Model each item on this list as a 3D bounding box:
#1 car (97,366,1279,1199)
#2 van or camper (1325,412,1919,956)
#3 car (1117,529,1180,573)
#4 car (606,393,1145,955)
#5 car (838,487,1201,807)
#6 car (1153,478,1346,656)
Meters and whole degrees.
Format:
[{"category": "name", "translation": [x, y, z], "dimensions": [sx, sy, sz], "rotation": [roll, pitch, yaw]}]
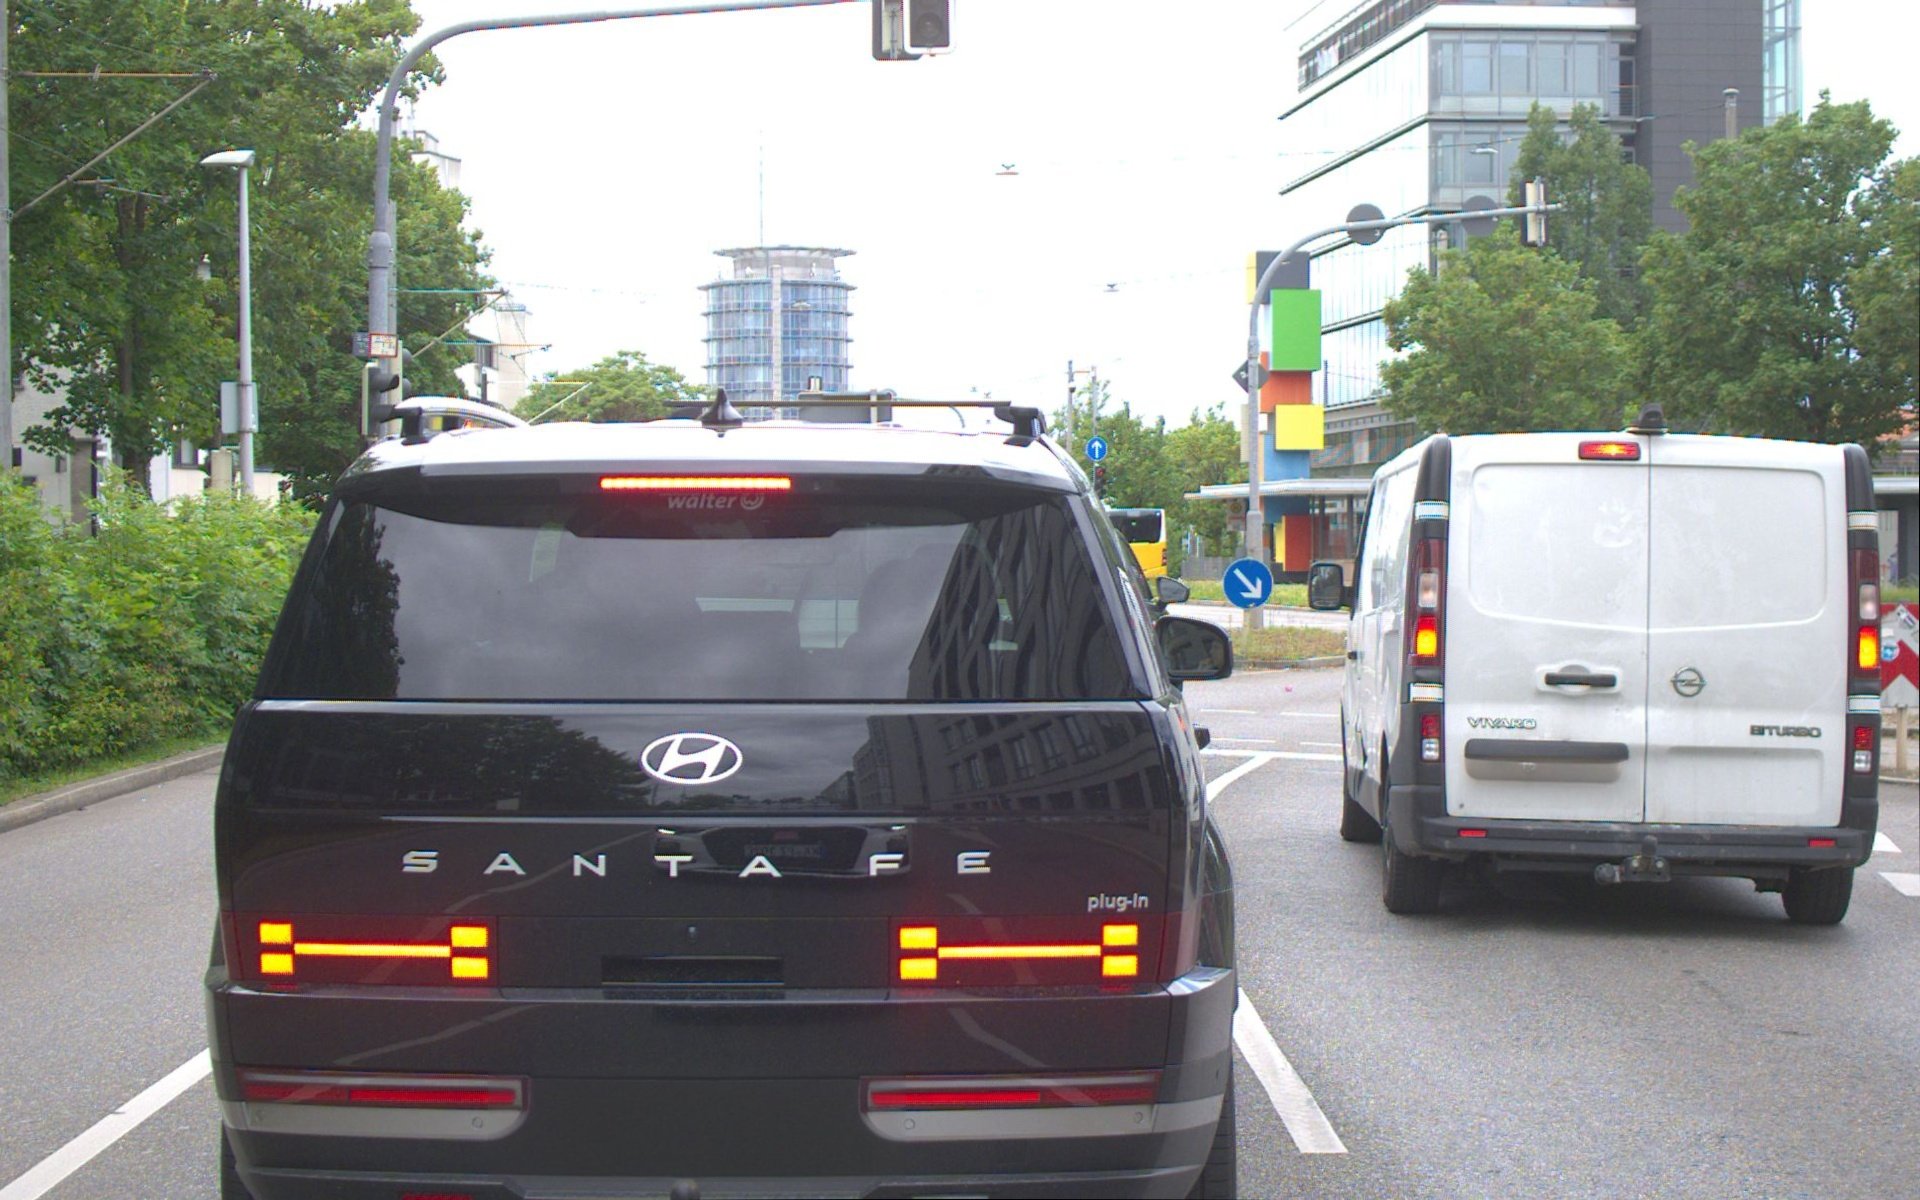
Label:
[{"category": "car", "translation": [-0.447, 0.471, 7.401], "dimensions": [1.869, 1.754, 3.880], "rotation": [0, 1, -1]}, {"category": "van or camper", "translation": [2.729, 0.265, 15.131], "dimensions": [1.994, 2.007, 4.652], "rotation": [1, 1, 3]}, {"category": "car", "translation": [7.265, -1.877, 132.505], "dimensions": [1.993, 1.678, 4.000], "rotation": [0, 0, -3]}, {"category": "car", "translation": [-0.322, 0.227, 14.206], "dimensions": [1.915, 1.996, 3.880], "rotation": [0, 1, -1]}, {"category": "car", "translation": [0.468, 0.232, 20.783], "dimensions": [1.776, 1.711, 4.337], "rotation": [1, 0, 6]}, {"category": "car", "translation": [3.407, -0.395, 41.128], "dimensions": [1.993, 2.007, 4.000], "rotation": [0, 0, 1]}]
